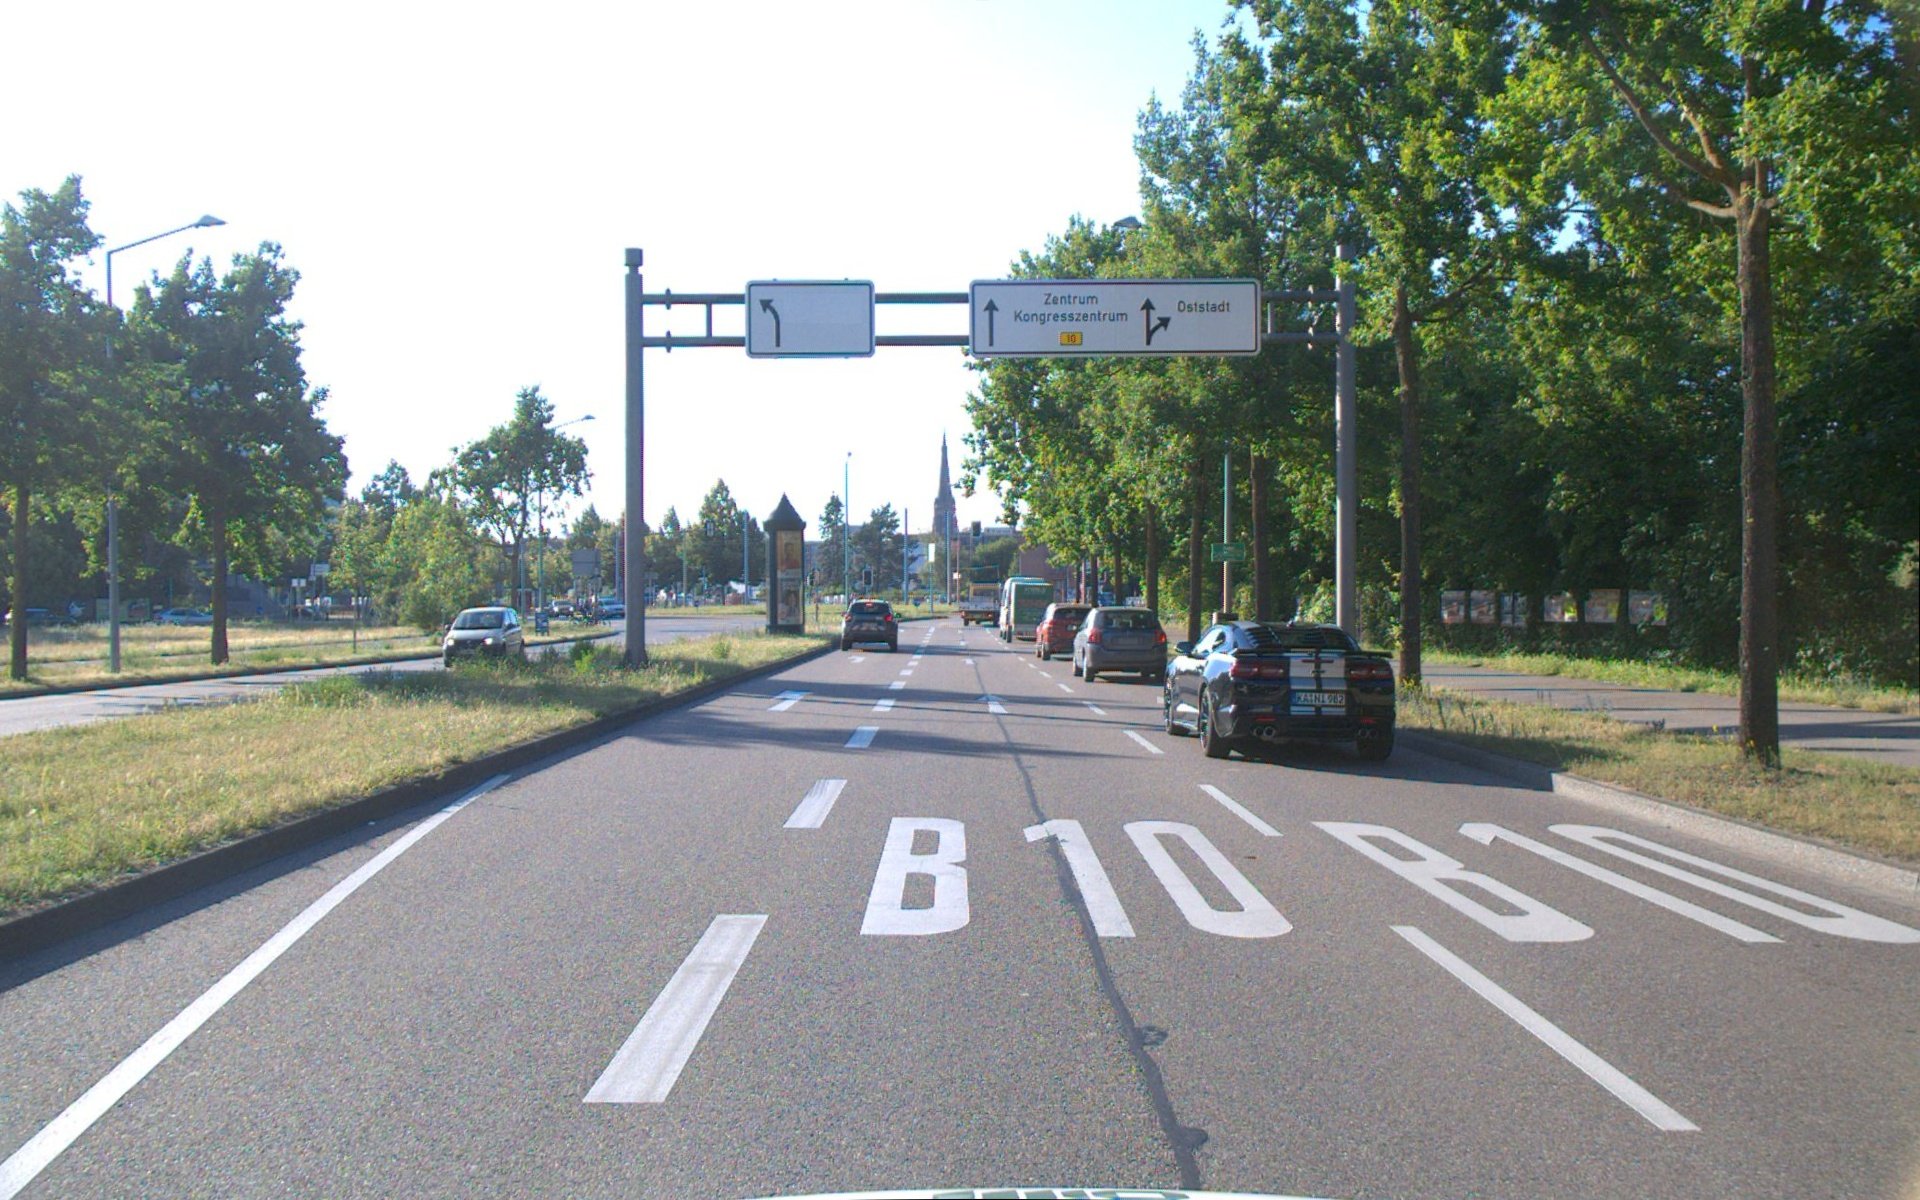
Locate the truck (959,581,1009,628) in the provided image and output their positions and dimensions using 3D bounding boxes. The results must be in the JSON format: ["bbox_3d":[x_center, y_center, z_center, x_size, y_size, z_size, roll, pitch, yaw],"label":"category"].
[{"bbox_3d":[1.432,0.223,97.181,2.172,2.697,4.778,0,0,10],"label":"truck"}]

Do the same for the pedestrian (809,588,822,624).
[{"bbox_3d":[-8.396,0.332,96.061,0.774,2.049,0.700,0,0,-7],"label":"pedestrian"}]

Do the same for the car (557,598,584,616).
[{"bbox_3d":[-33.046,0.611,140.481,1.868,1.470,4.131,-1,0,-8],"label":"car"}]

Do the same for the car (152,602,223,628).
[{"bbox_3d":[-48.944,0.930,104.778,3.679,1.534,1.846,-1,1,-43],"label":"car"}]

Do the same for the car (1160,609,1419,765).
[{"bbox_3d":[3.344,0.825,17.688,1.816,1.361,4.625,1,0,0],"label":"car"}]

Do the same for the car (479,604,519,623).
[{"bbox_3d":[-40.201,1.178,144.230,1.632,1.467,3.618,-2,1,17],"label":"car"}]

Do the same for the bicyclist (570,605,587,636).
[{"bbox_3d":[-22.414,1.196,97.138,0.795,1.801,0.497,1,0,15],"label":"bicyclist"}]

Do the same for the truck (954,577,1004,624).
[{"bbox_3d":[1.164,-0.007,97.502,2.526,2.602,6.255,-1,0,4],"label":"truck"}]

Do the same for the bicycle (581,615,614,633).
[{"bbox_3d":[-21.548,1.439,98.357,1.868,1.037,0.505,1,0,7],"label":"bicycle"}]

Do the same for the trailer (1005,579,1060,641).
[{"bbox_3d":[2.948,0.396,67.573,2.047,2.442,3.501,1,0,0],"label":"trailer"}]

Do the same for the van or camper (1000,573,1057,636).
[{"bbox_3d":[2.985,0.172,73.672,2.238,2.675,6.583,1,0,0],"label":"van or camper"}]

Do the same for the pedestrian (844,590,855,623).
[{"bbox_3d":[-6.360,0.359,95.009,0.475,1.876,0.720,-1,0,6],"label":"pedestrian"}]

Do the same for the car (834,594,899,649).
[{"bbox_3d":[-3.015,0.671,54.082,1.866,1.689,4.000,-1,0,0],"label":"car"}]

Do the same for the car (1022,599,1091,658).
[{"bbox_3d":[2.761,0.810,48.082,1.712,1.649,3.818,0,0,-1],"label":"car"}]

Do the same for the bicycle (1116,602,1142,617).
[{"bbox_3d":[10.234,0.583,100.139,1.437,0.799,0.437,-5,2,-18],"label":"bicycle"}]

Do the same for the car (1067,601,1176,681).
[{"bbox_3d":[3.264,0.792,34.053,1.712,1.499,3.818,-1,0,-2],"label":"car"}]

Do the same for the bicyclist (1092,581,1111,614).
[{"bbox_3d":[8.479,-0.159,99.057,0.920,1.932,0.599,-2,-1,36],"label":"bicyclist"}]

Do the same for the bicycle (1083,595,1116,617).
[{"bbox_3d":[8.373,0.362,99.143,1.872,1.266,0.607,-2,-1,36],"label":"bicycle"}]

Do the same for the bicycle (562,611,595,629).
[{"bbox_3d":[-22.386,1.194,97.128,1.868,1.037,0.505,1,0,15],"label":"bicycle"}]

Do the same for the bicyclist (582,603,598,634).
[{"bbox_3d":[-22.025,1.079,98.422,0.795,1.820,0.497,1,0,7],"label":"bicyclist"}]

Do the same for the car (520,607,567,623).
[{"bbox_3d":[-39.202,1.400,155.679,4.049,1.400,1.673,-2,1,19],"label":"car"}]

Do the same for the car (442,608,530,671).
[{"bbox_3d":[-12.746,1.031,44.623,1.531,1.602,3.410,-1,0,-3],"label":"car"}]
